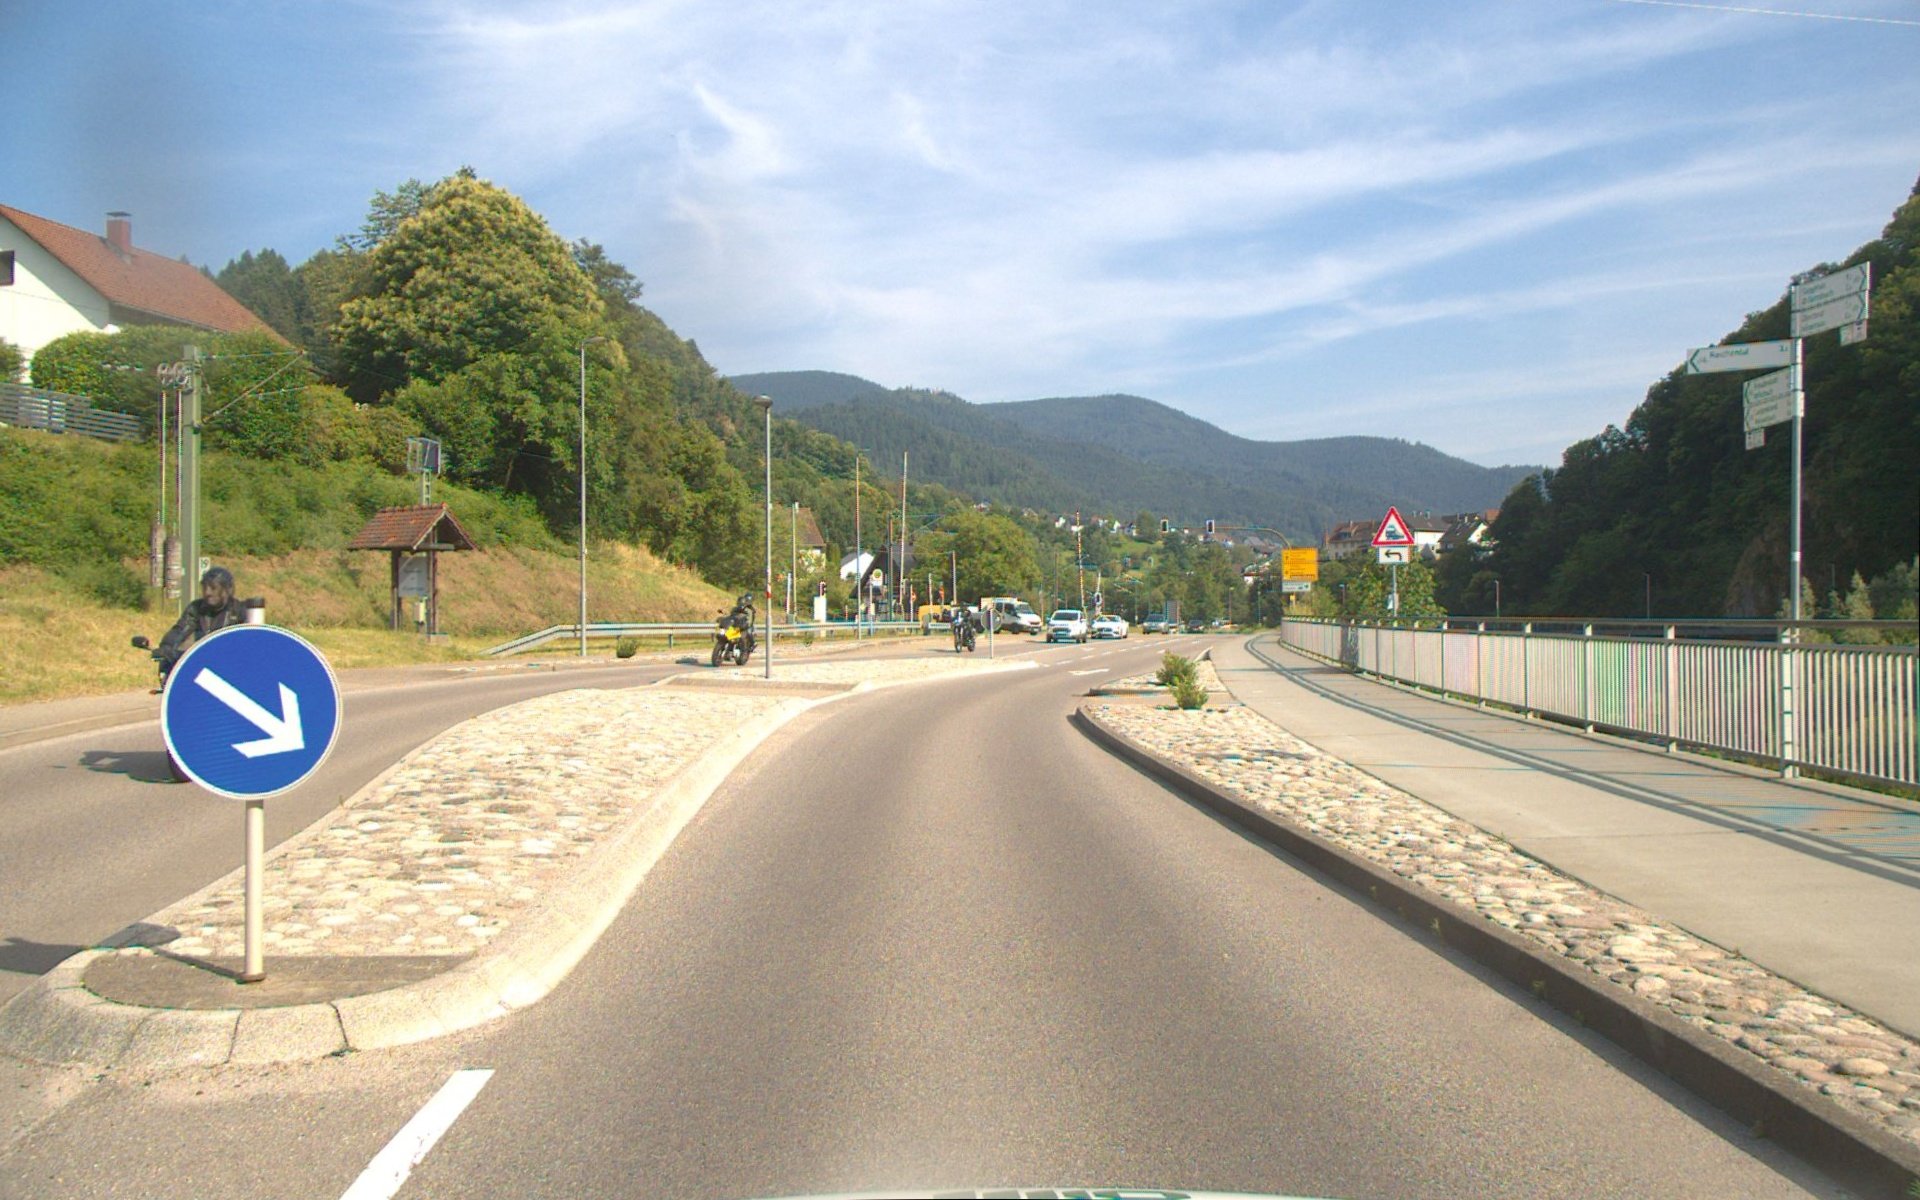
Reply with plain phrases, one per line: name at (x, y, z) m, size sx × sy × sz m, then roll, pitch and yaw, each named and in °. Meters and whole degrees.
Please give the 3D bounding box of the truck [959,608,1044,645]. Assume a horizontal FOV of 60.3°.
truck at (2.761, 1.756, 110.826) m, size 5.902 × 2.306 × 1.986 m, roll 1°, pitch -1°, yaw 45°

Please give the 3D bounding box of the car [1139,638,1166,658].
car at (15.208, 3.788, 130.758) m, size 1.721 × 1.548 × 4.207 m, roll 1°, pitch -2°, yaw 12°

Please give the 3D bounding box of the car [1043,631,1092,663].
car at (5.462, 2.392, 83.661) m, size 1.726 × 1.588 × 4.002 m, roll 1°, pitch -2°, yaw 15°

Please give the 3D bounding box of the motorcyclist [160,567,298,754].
motorcyclist at (-6.226, 0.503, 14.136) m, size 0.889 × 1.545 × 0.845 m, roll 0°, pitch -1°, yaw -11°

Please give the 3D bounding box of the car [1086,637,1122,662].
car at (8.771, 3.012, 100.536) m, size 1.744 × 1.424 × 4.830 m, roll 1°, pitch -2°, yaw 10°

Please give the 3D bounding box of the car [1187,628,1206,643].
car at (23.903, 3.576, 167.122) m, size 1.735 × 1.441 × 3.788 m, roll -2°, pitch -2°, yaw 11°

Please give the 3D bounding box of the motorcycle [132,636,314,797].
motorcycle at (-6.208, 0.933, 14.078) m, size 0.878 × 1.204 × 2.300 m, roll 0°, pitch 0°, yaw -10°
